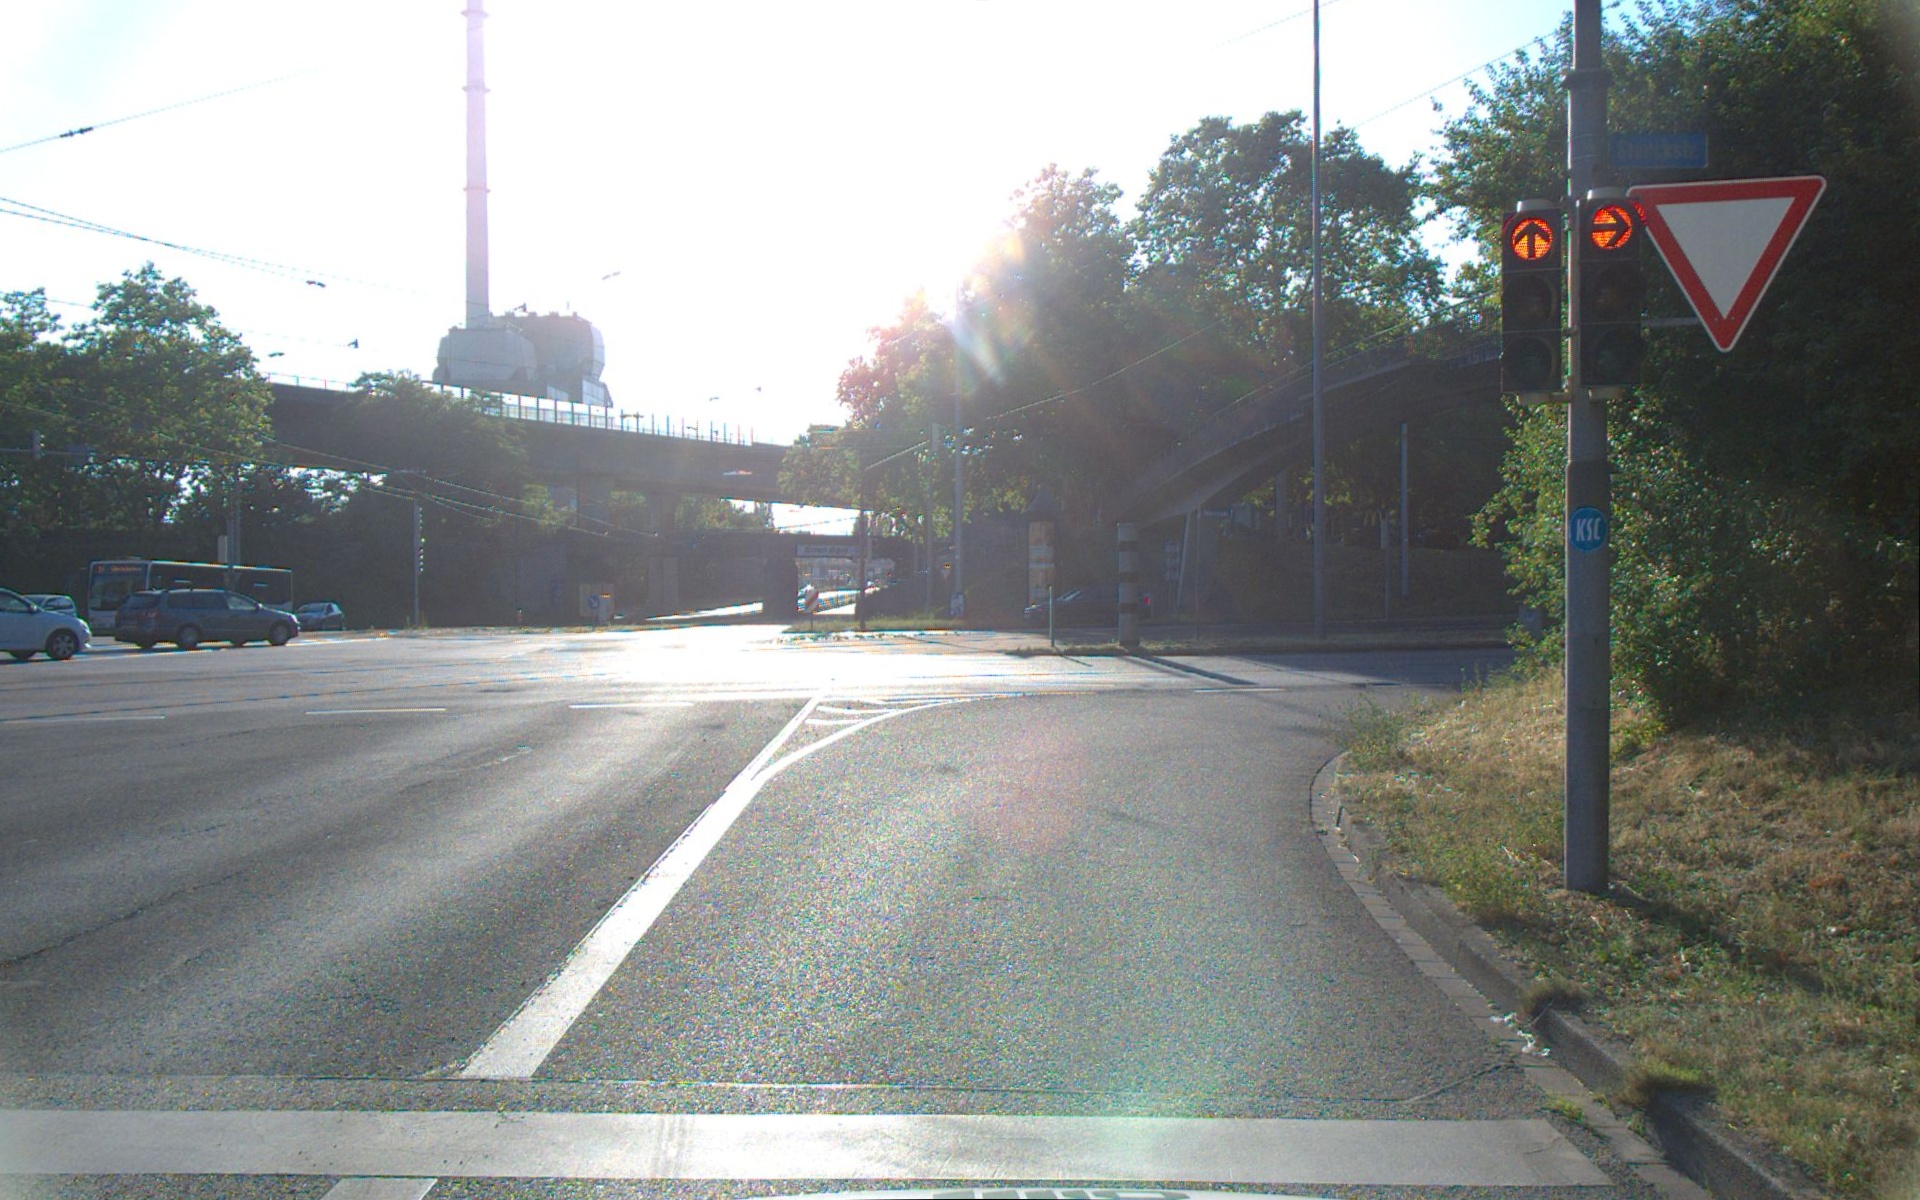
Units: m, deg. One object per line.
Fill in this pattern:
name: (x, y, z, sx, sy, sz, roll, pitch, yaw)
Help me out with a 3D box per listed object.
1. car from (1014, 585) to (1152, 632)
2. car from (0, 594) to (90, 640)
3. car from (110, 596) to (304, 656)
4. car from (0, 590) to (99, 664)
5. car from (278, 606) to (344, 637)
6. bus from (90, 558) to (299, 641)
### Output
car: (4.288, 0.294, 57.528, 4.505, 1.602, 1.685, 0, 0, -18)
car: (-32.219, 0.565, 57.890, 1.574, 1.538, 4.006, 1, 0, -3)
car: (-18.966, 0.620, 41.844, 1.633, 1.429, 4.440, 1, 0, 26)
car: (-19.344, 0.524, 32.350, 1.636, 1.429, 4.183, 1, 0, 34)
car: (-31.659, 1.036, 80.813, 1.573, 1.444, 4.008, 1, 0, 1)
bus: (-31.979, 0.092, 69.948, 2.491, 3.185, 12.919, -1, -1, 2)
